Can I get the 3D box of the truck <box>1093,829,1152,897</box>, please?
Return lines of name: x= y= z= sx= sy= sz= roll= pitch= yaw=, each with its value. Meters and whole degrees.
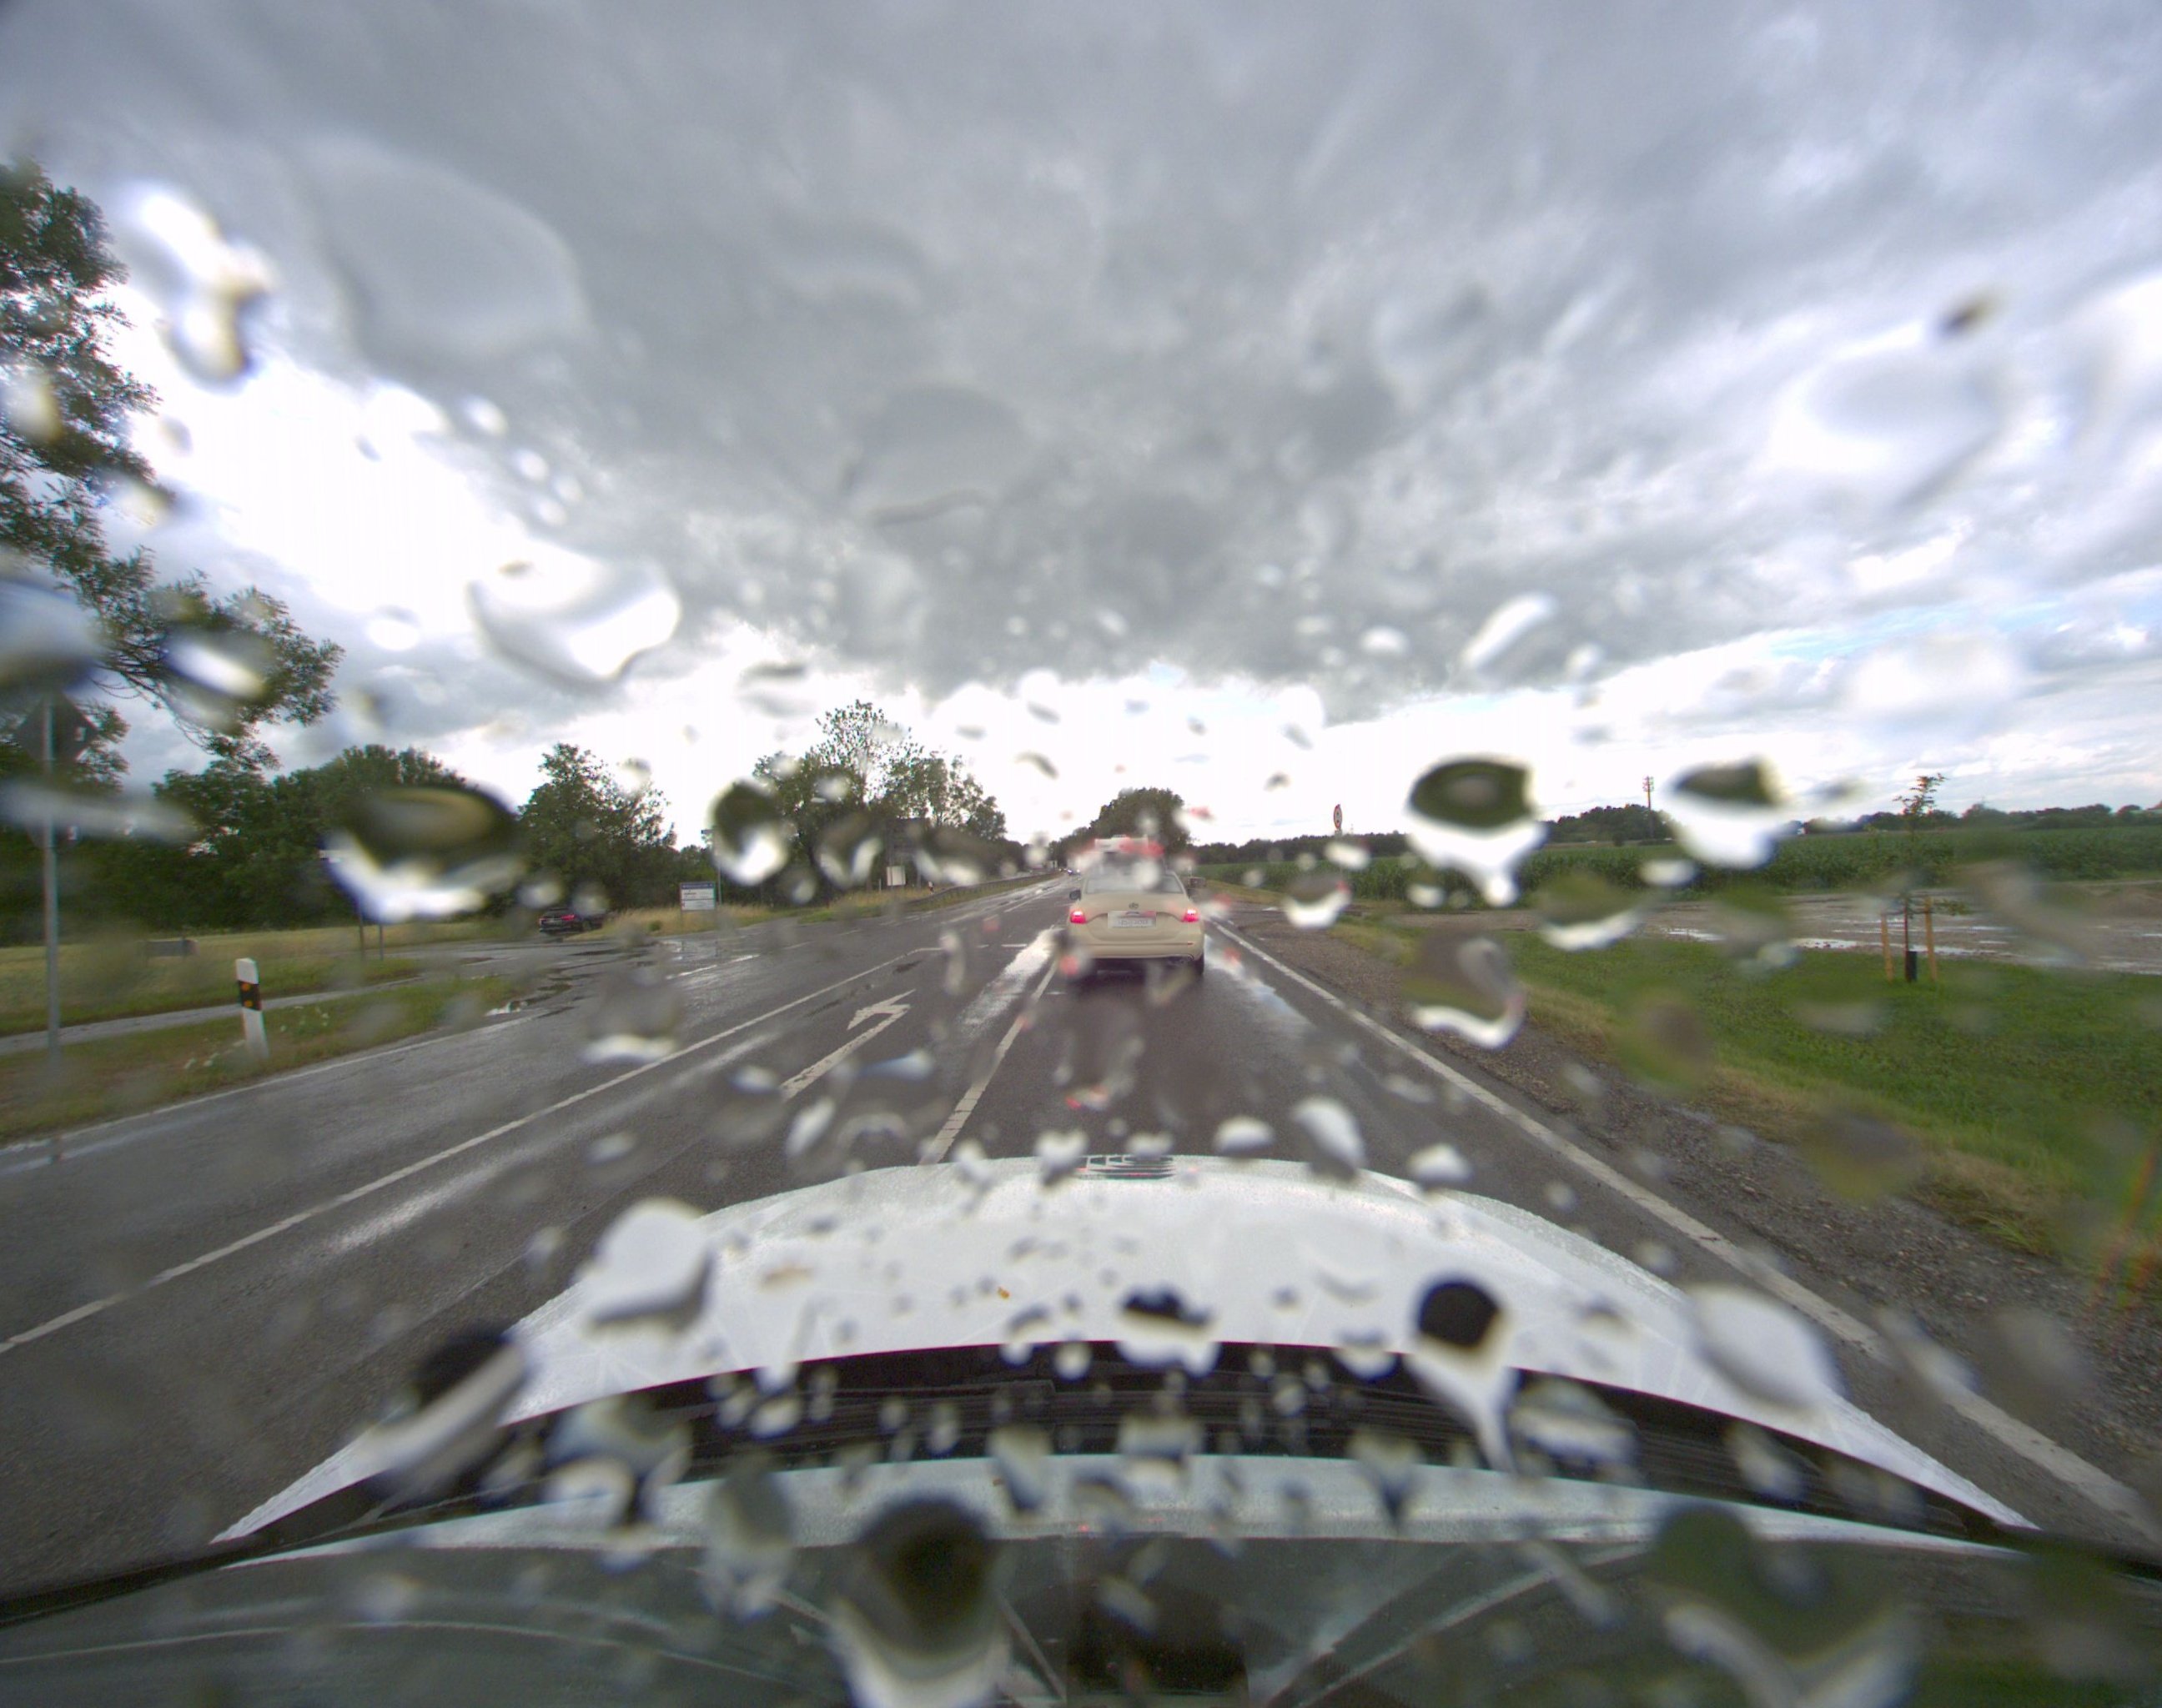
truck: x=1.858 y=0.445 z=37.530 sx=2.354 sy=2.729 sz=7.316 roll=-3 pitch=-1 yaw=2

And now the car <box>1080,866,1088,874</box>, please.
car: x=0.726 y=4.217 z=211.067 sx=1.890 sy=1.895 sz=3.841 roll=-2 pitch=-1 yaw=-1

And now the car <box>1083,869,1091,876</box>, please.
car: x=1.452 y=4.654 z=203.030 sx=1.745 sy=1.662 sz=3.668 roll=-2 pitch=-1 yaw=-3

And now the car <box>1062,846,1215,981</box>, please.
car: x=0.763 y=0.767 z=11.941 sx=1.836 sy=1.618 sz=4.001 roll=-1 pitch=-1 yaw=2

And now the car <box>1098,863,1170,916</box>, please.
car: x=1.533 y=1.029 z=24.439 sx=1.986 sy=1.462 sz=4.001 roll=0 pitch=-1 yaw=2

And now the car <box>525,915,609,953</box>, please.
car: x=-25.812 y=3.984 z=41.142 sx=2.306 sy=1.547 sz=4.608 roll=0 pitch=-1 yaw=-15

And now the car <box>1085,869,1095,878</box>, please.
car: x=1.731 y=3.699 z=155.965 sx=1.872 sy=1.761 sz=3.835 roll=-2 pitch=-1 yaw=2

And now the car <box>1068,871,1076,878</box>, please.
car: x=-2.053 y=4.692 z=187.105 sx=1.574 sy=1.640 sz=3.442 roll=-2 pitch=-1 yaw=1

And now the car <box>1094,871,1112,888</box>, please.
car: x=2.491 y=2.840 z=92.370 sx=1.908 sy=1.841 sz=3.797 roll=-2 pitch=-1 yaw=2

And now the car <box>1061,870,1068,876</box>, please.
car: x=-4.423 y=5.168 z=219.874 sx=1.603 sy=1.492 sz=3.783 roll=-2 pitch=-1 yaw=-1

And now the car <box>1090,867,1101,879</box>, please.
car: x=2.407 y=3.196 z=137.122 sx=1.784 sy=1.777 sz=3.722 roll=-2 pitch=-1 yaw=2

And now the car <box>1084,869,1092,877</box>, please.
car: x=1.644 y=4.439 z=191.167 sx=1.733 sy=1.860 sz=3.786 roll=-2 pitch=-1 yaw=2

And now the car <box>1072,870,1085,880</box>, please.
car: x=-0.383 y=3.386 z=130.392 sx=1.821 sy=1.574 sz=4.002 roll=0 pitch=-1 yaw=2

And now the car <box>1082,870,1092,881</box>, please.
car: x=1.290 y=4.357 z=165.269 sx=1.845 sy=2.014 sz=3.812 roll=-2 pitch=-1 yaw=2
